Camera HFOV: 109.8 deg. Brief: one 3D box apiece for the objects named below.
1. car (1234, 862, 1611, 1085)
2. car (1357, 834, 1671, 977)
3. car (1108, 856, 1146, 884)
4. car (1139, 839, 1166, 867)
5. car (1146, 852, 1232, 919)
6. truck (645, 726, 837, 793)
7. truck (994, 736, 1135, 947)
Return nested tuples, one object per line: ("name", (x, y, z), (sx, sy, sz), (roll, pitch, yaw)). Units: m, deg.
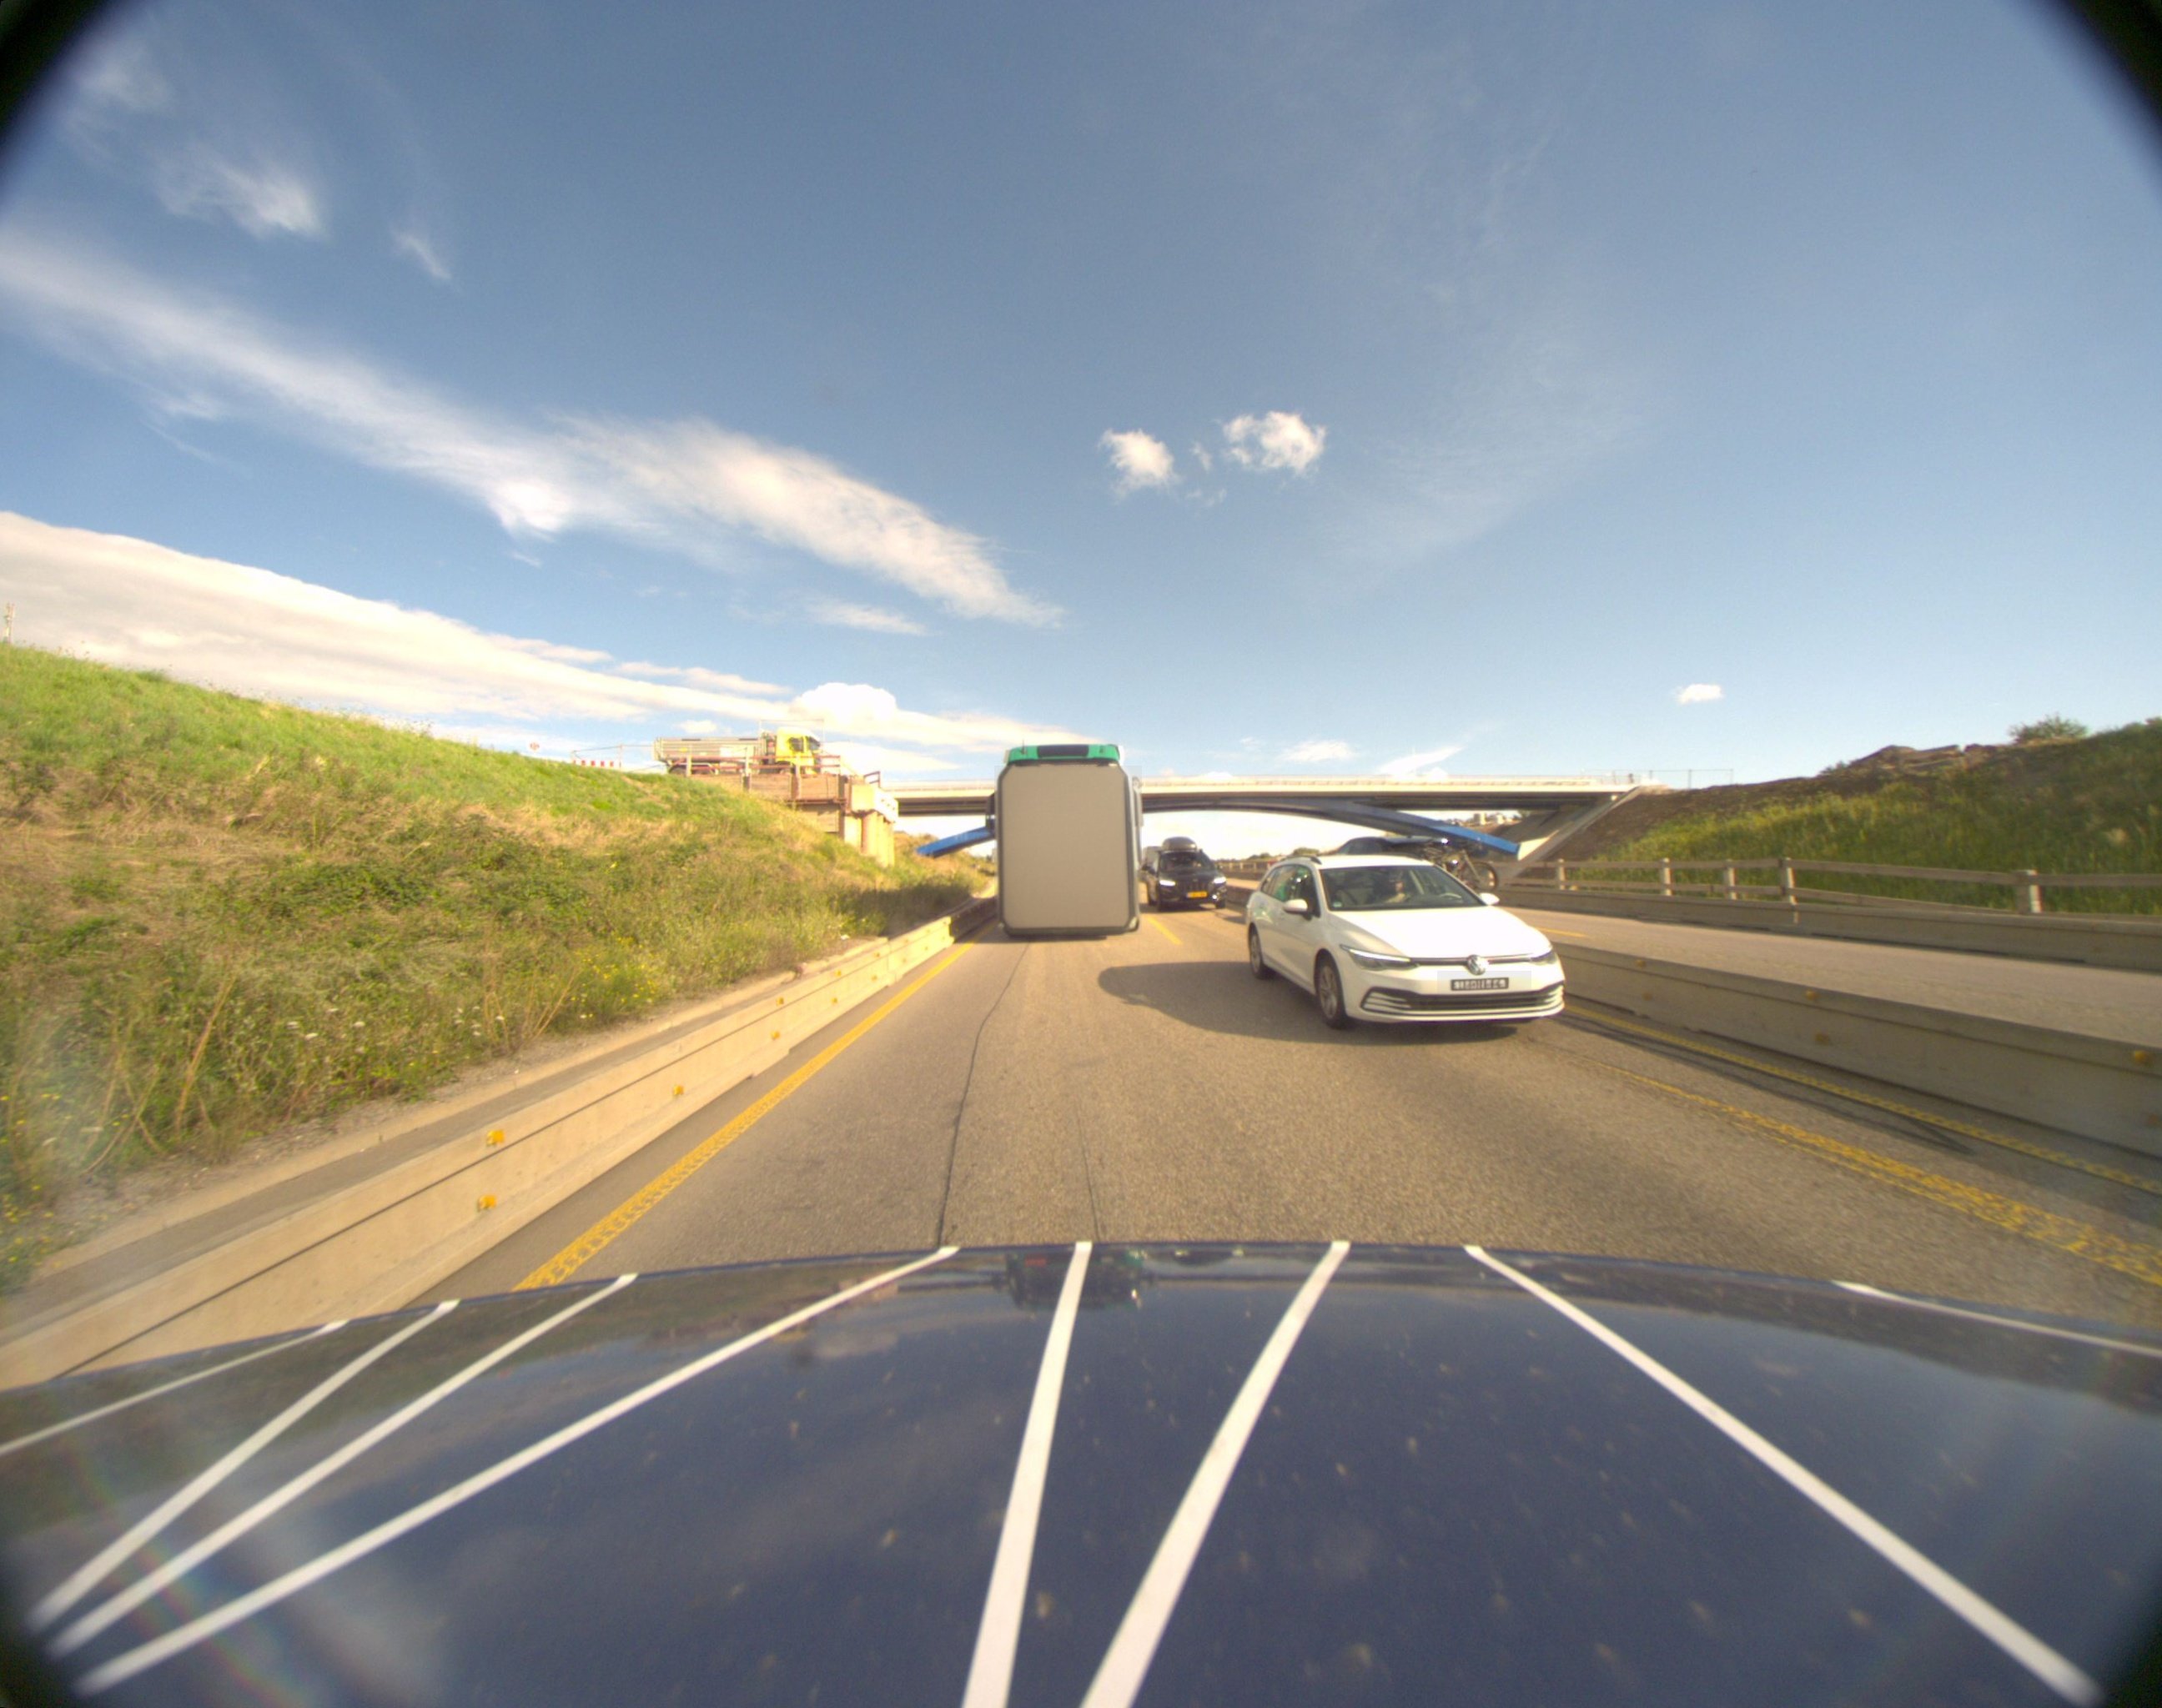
("car", (2.905, 0.884, 7.661), (1.825, 1.487, 4.374), (-2, 0, 1))
("car", (6.513, 0.665, 12.433), (1.953, 1.736, 5.579), (-2, 0, 1))
("car", (2.707, 0.908, 45.312), (1.855, 1.488, 4.300), (-2, 0, -1))
("car", (7.556, -0.081, 80.728), (2.115, 2.819, 6.137), (1, 0, -1))
("car", (2.981, 0.806, 21.813), (1.855, 1.667, 4.260), (-3, 0, 1))
("truck", (-18.841, -5.244, 42.657), (9.289, 3.209, 2.959), (-2, 0, -3))
("truck", (-0.299, -0.239, 18.458), (2.546, 3.899, 8.279), (-2, 0, 0))
